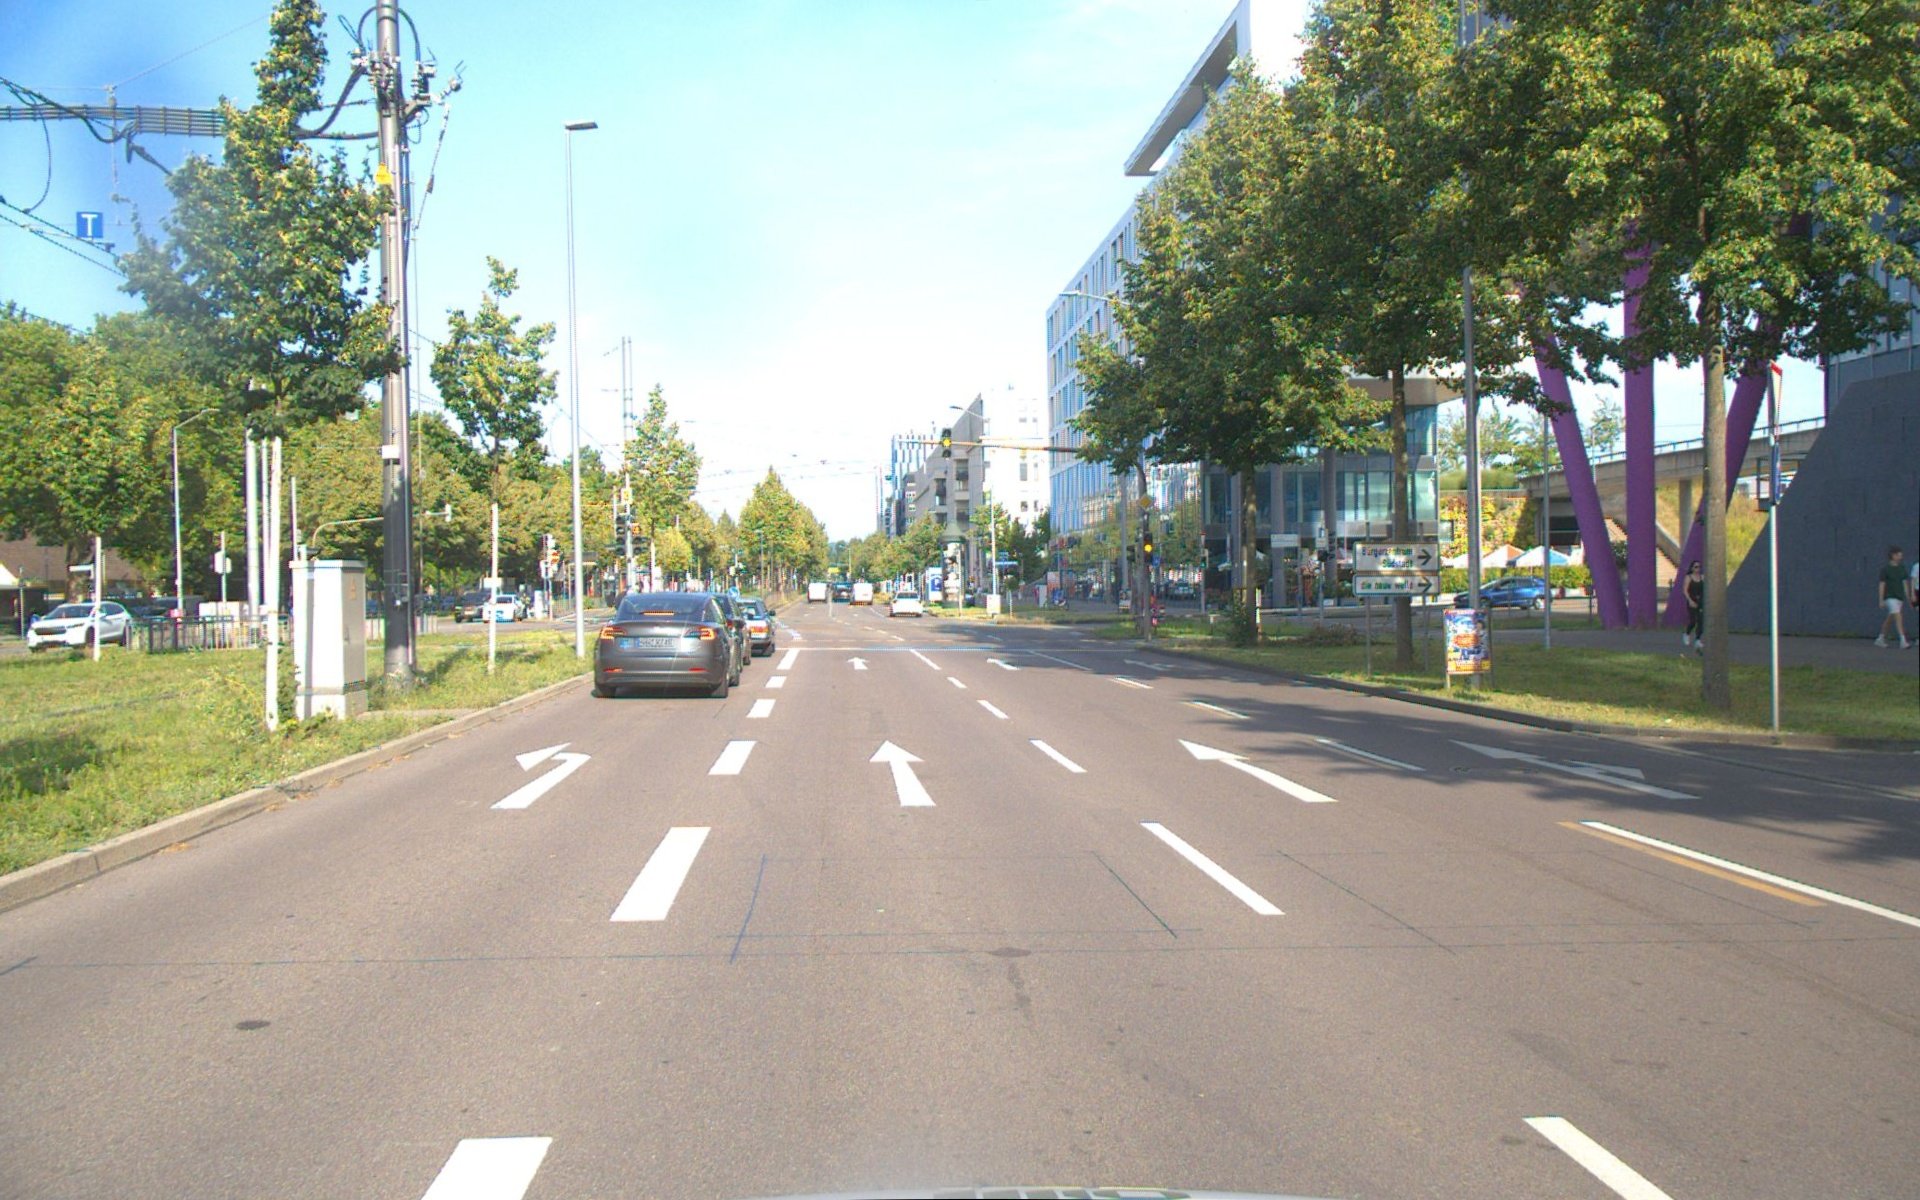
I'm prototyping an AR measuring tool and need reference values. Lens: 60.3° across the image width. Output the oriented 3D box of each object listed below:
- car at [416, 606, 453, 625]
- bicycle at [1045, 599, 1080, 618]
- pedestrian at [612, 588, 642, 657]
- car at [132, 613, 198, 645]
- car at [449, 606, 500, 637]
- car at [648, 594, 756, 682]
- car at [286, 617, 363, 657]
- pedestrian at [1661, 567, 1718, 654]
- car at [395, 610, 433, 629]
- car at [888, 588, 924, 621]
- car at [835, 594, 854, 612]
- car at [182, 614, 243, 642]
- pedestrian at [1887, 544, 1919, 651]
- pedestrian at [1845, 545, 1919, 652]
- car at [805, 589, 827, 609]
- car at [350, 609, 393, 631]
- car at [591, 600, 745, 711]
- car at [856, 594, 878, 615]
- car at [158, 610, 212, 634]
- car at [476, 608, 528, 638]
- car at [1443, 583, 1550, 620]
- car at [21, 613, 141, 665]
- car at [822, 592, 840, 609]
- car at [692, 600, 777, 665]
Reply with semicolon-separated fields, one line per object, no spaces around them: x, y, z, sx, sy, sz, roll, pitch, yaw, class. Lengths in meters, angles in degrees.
-45.916;1.328;144.507;1.842;1.586;4.000;-2;0;1;car
5.750;0.471;92.769;1.845;1.050;0.769;-1;0;42;bicycle
-8.760;0.586;43.476;0.686;1.823;0.635;0;0;-4;pedestrian
-46.023;1.665;95.819;1.842;1.780;4.000;-2;0;1;car
-29.220;1.253;99.645;1.955;1.714;4.990;-1;1;-5;car
-4.812;0.667;31.288;1.752;1.504;4.348;1;0;-6;car
-27.342;1.573;71.283;1.955;1.554;4.307;-1;1;-6;car
14.427;0.196;32.728;0.680;1.667;0.736;-3;0;-6;pedestrian
-46.012;1.628;139.405;1.842;1.586;4.000;-2;0;1;car
-2.997;0.229;91.223;1.827;1.713;3.997;1;0;-4;car
-11.657;0.286;166.434;1.886;1.713;3.997;1;0;-4;car
-46.021;1.714;101.889;1.842;1.586;4.000;-2;0;1;car
16.979;-0.063;29.083;0.753;1.857;0.852;-3;0;-6;pedestrian
16.334;-0.021;29.277;0.740;1.824;0.843;-3;0;-6;pedestrian
-13.110;-0.101;150.856;1.975;1.713;3.997;1;0;-4;car
-46.223;1.573;129.910;1.842;1.586;4.000;-2;0;1;car
-4.111;0.735;23.861;1.853;1.410;4.329;1;0;-6;car
-8.005;0.358;142.247;1.827;1.713;3.997;1;0;-4;car
-54.292;1.553;115.980;1.842;1.586;4.000;-2;0;1;car
-25.224;1.260;91.138;1.955;1.530;4.089;-3;0;-4;car
23.799;0.057;73.411;4.103;1.449;1.857;-2;1;-6;car
-29.370;1.257;55.412;1.868;1.554;4.437;-1;1;-4;car
-14.109;0.037;180.522;1.887;1.713;3.995;1;0;-6;car
-5.090;0.702;37.768;1.729;1.353;4.395;1;0;-5;car
